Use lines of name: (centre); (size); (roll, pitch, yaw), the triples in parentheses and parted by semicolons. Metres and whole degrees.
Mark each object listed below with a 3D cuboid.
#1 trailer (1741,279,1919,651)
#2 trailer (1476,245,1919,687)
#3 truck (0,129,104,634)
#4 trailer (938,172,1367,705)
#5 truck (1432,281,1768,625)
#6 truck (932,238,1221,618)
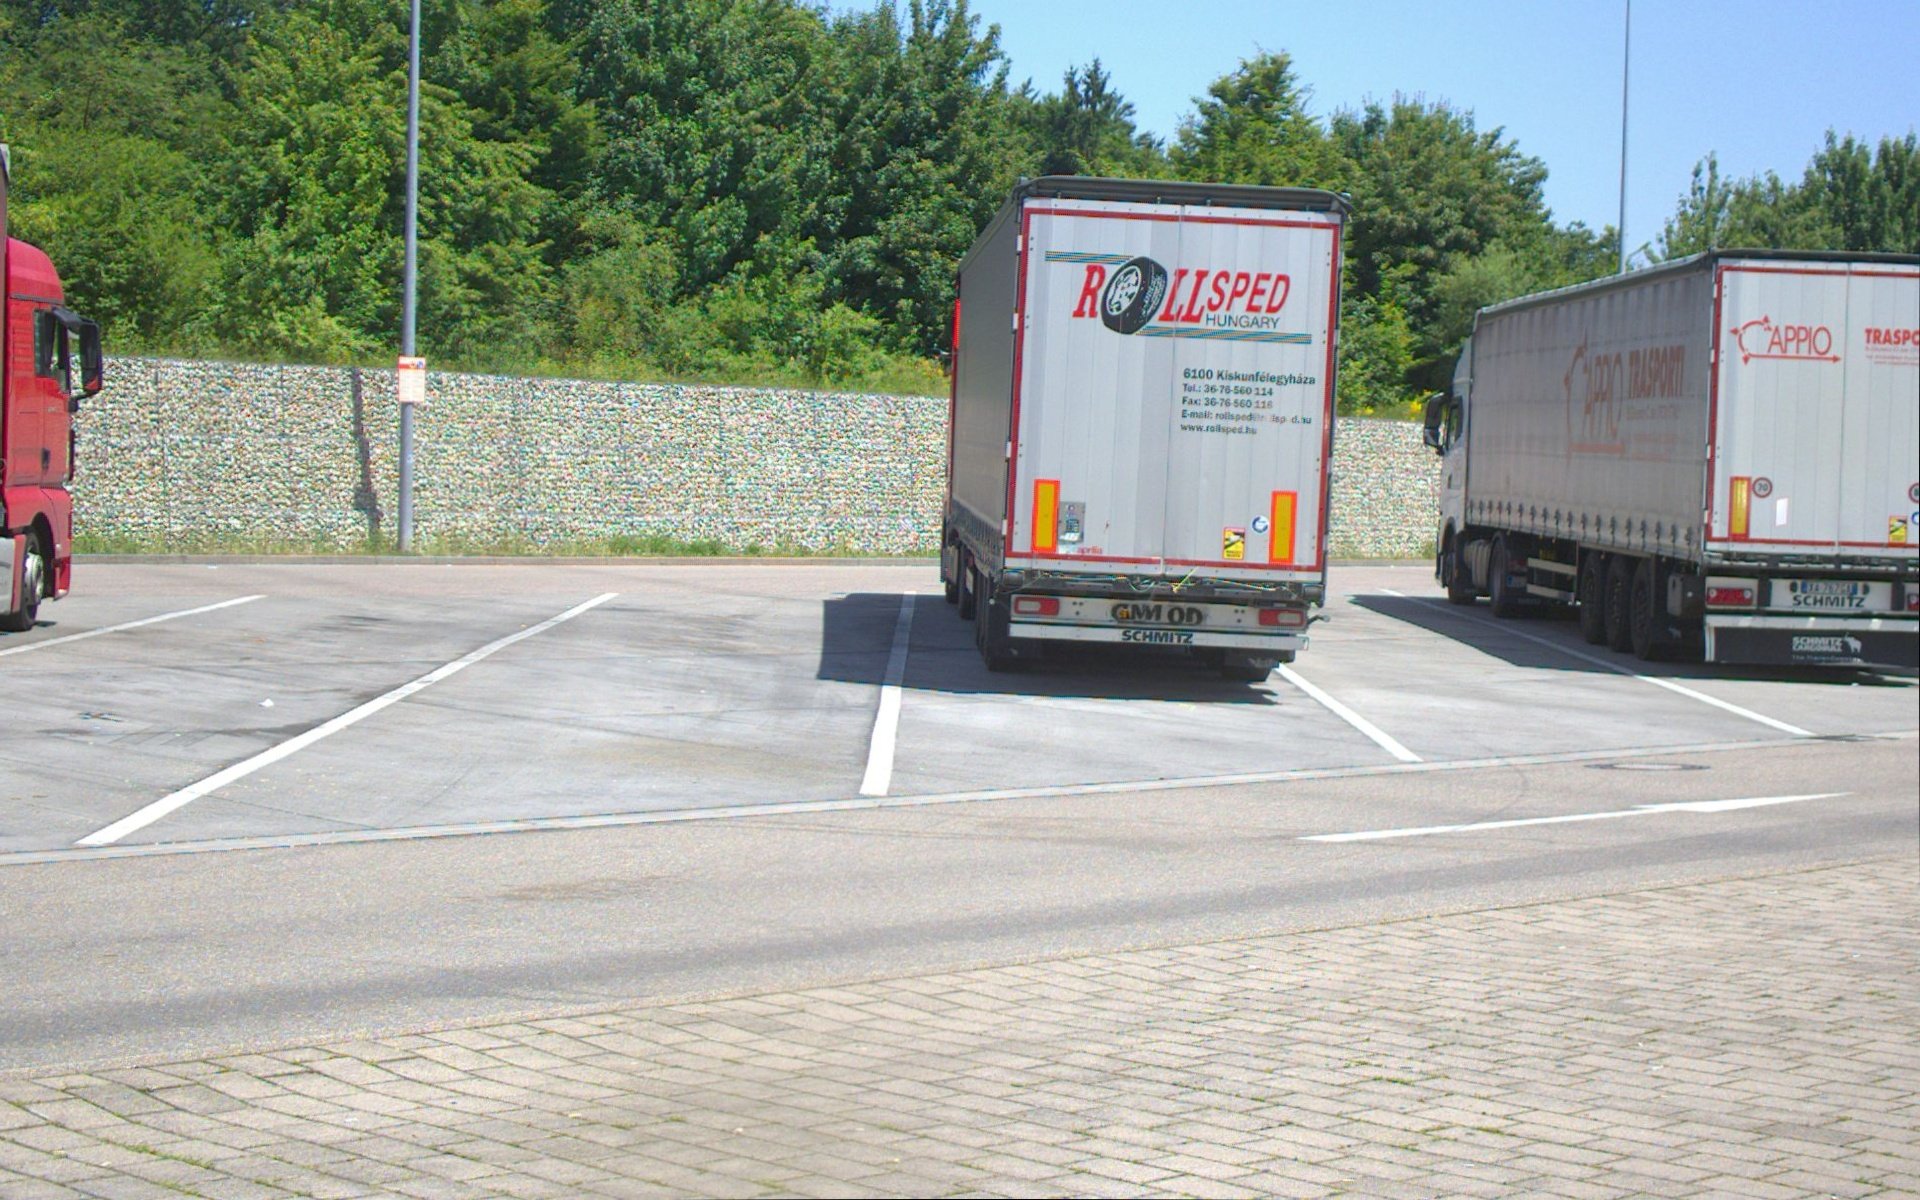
trailer: (11.838, -1.528, 39.031); (2.866, 4.023, 12.439); (2, 3, 0)
trailer: (8.183, -1.568, 37.967); (2.866, 4.023, 12.439); (2, 3, 0)
truck: (-9.148, -1.814, 27.990); (2.696, 4.099, 6.240); (2, 3, 0)
trailer: (1.439, -1.637, 33.629); (2.866, 4.023, 14.243); (2, 3, -2)
truck: (8.124, -1.951, 44.594); (2.866, 4.023, 6.957); (2, 3, 0)
truck: (1.227, -2.056, 40.708); (2.866, 4.023, 7.028); (2, 3, -2)
